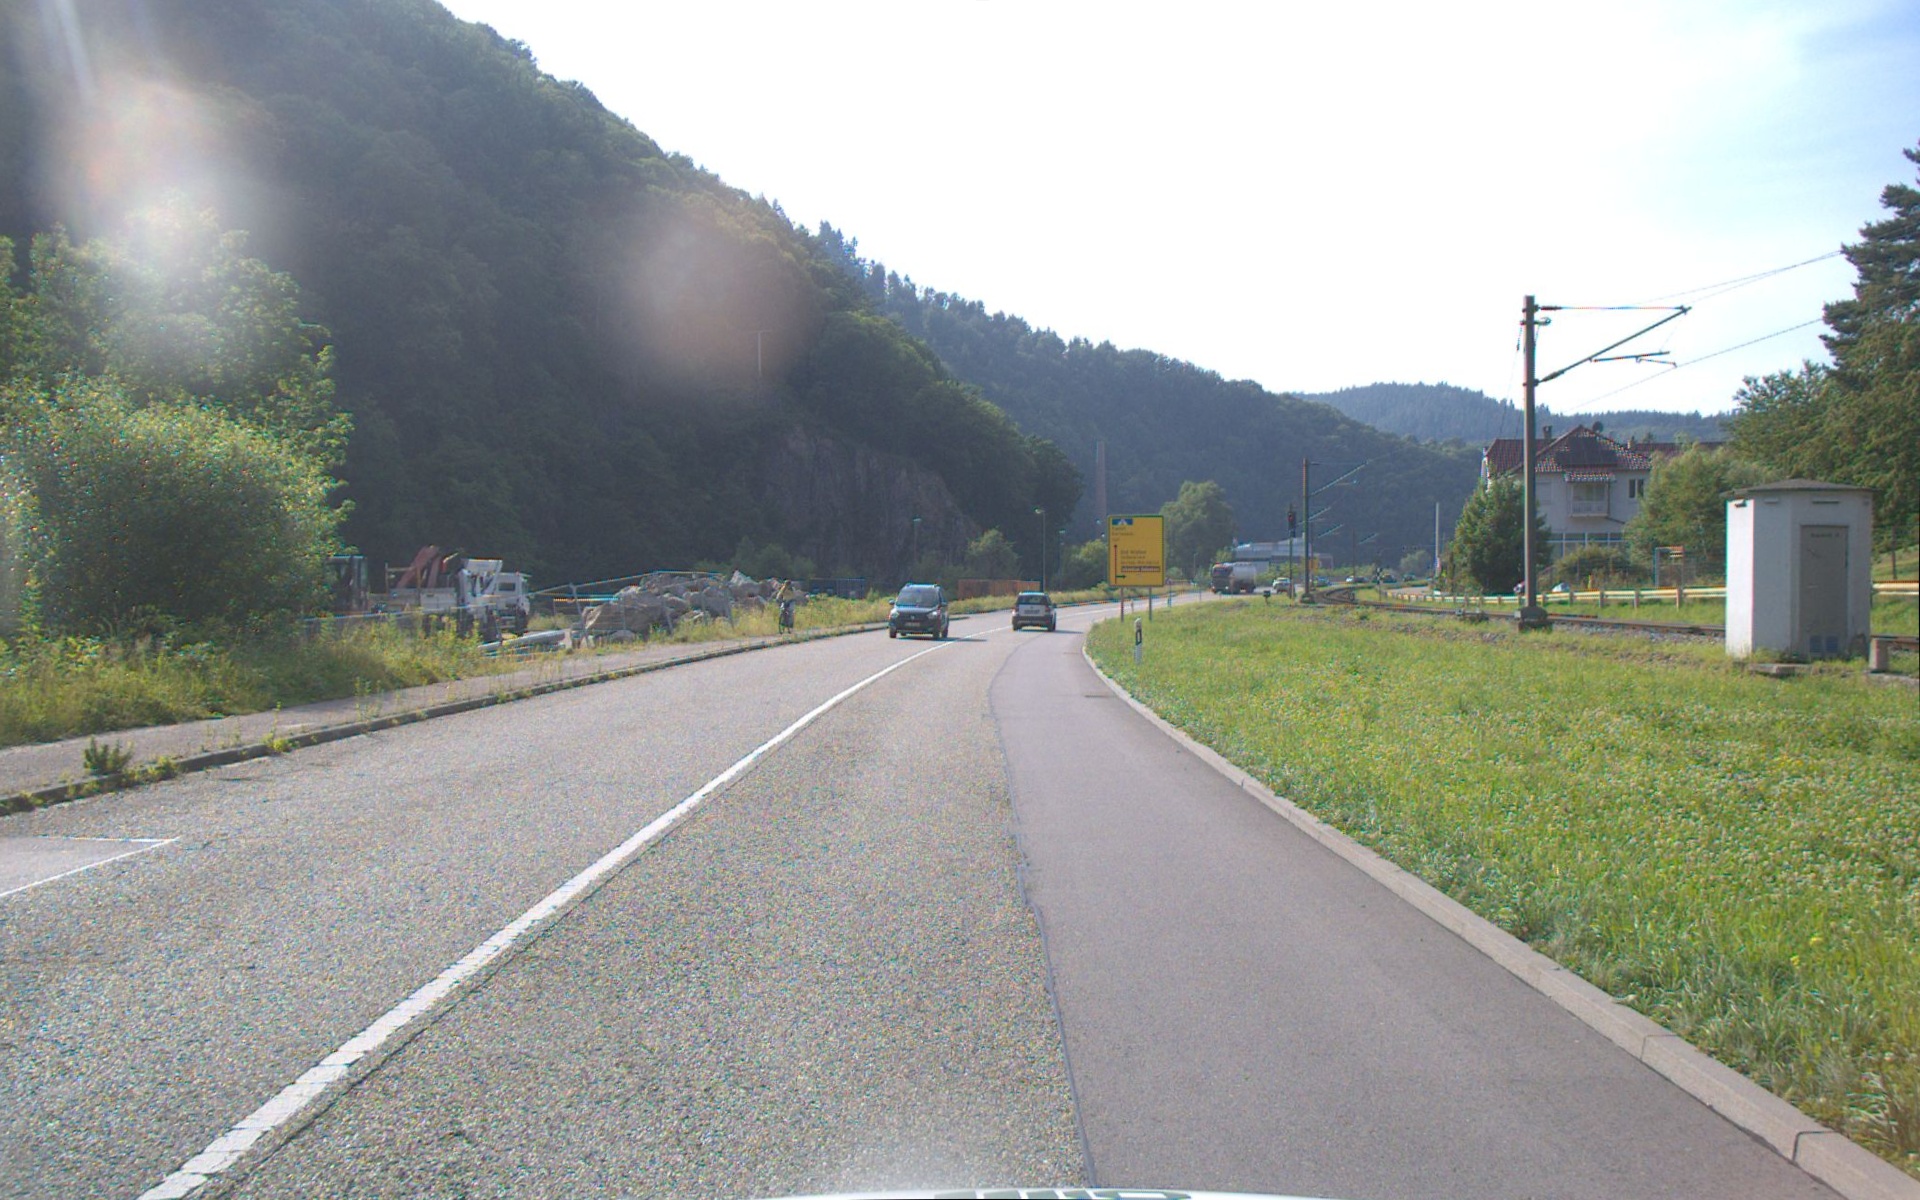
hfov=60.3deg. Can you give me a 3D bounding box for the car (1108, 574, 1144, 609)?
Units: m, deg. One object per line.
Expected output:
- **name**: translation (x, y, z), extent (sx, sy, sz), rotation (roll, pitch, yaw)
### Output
- **car**: translation (10.241, -0.562, 102.406), extent (1.952, 2.049, 4.002), rotation (-2, 0, 3)

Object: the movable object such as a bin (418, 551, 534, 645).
- **movable object such as a bin**: translation (-22.092, -0.092, 76.001), extent (2.838, 4.016, 7.809), rotation (-2, 0, 1)

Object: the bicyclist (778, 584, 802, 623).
- **bicyclist**: translation (-5.507, 0.124, 53.645), extent (0.669, 1.246, 0.858), rotation (1, 0, 1)

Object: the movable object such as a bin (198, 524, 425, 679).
- **movable object such as a bin**: translation (-18.818, 0.018, 48.866), extent (2.644, 4.016, 9.990), rotation (-2, 0, 0)

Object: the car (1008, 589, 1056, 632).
- **car**: translation (3.189, 0.436, 72.782), extent (1.952, 1.753, 3.992), rotation (-2, 0, 4)

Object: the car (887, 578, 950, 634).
- **car**: translation (-1.373, 0.188, 56.839), extent (1.812, 1.816, 4.686), rotation (1, 0, 2)

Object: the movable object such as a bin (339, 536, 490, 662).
- **movable object such as a bin**: translation (-18.780, -0.048, 57.484), extent (2.665, 4.016, 7.230), rotation (-2, 0, 1)

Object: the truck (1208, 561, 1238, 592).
- **truck**: translation (34.767, -3.073, 218.262), extent (2.692, 3.902, 8.203), rotation (1, 1, 17)

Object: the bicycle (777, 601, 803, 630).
- **bicycle**: translation (-5.502, 0.508, 53.653), extent (0.528, 0.897, 2.253), rotation (1, 0, 2)
